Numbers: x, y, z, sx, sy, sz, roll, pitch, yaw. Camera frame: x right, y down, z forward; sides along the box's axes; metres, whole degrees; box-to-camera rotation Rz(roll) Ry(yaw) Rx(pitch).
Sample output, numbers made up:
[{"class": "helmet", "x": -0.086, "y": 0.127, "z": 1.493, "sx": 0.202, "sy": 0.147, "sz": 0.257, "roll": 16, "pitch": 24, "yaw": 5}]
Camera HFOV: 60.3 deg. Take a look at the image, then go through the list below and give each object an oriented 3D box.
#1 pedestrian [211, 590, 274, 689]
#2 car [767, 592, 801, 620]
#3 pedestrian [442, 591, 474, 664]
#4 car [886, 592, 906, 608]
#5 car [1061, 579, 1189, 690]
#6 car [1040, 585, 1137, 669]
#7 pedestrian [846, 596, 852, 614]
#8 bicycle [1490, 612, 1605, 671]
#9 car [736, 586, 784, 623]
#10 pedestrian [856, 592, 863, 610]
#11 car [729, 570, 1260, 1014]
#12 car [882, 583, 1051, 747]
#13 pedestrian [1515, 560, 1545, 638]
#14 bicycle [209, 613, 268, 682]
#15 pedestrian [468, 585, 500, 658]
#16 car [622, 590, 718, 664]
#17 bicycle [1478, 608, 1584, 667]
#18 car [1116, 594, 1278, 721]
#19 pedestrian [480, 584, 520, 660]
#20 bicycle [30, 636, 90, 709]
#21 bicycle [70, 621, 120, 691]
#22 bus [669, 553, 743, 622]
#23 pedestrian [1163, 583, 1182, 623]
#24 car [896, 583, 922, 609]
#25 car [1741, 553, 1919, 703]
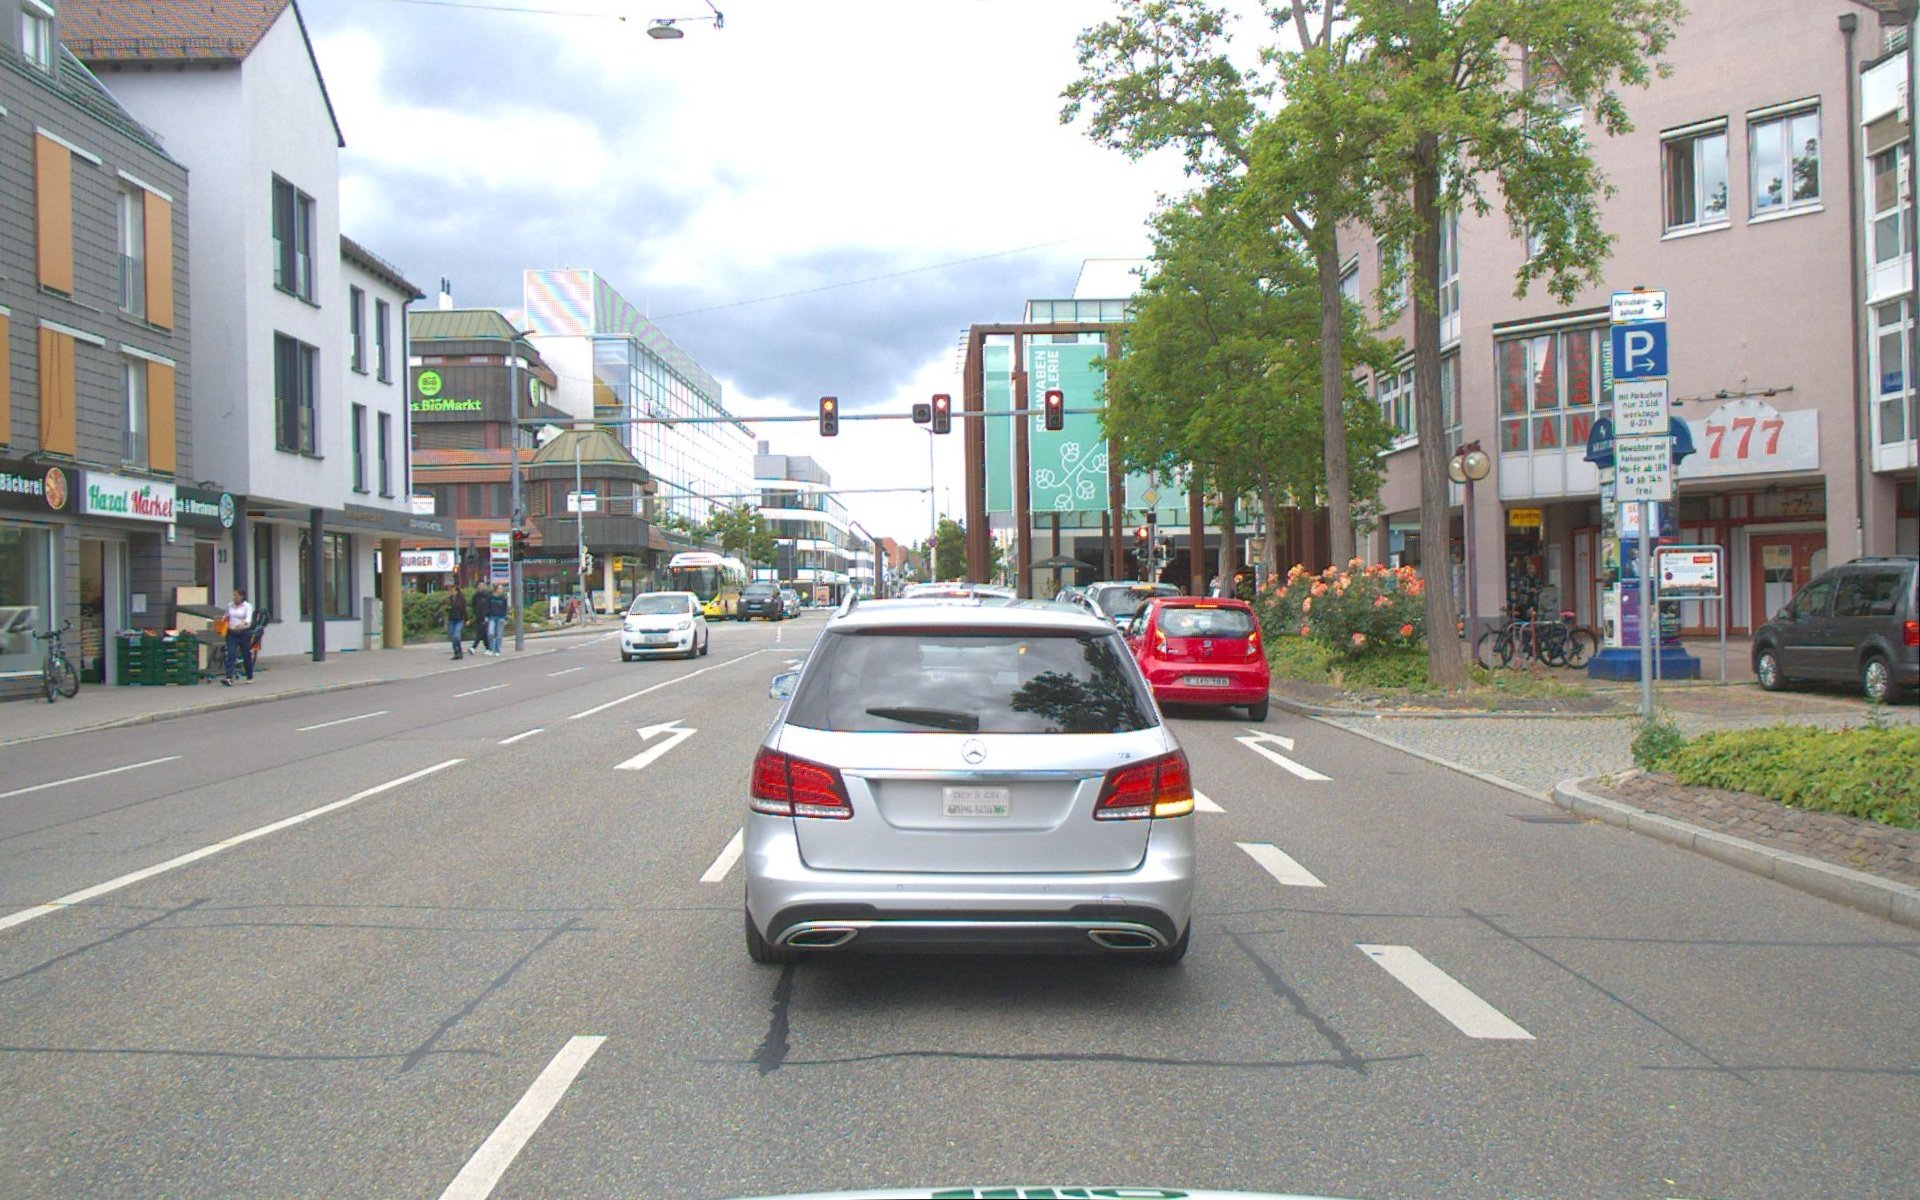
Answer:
[{"class": "pedestrian", "x": -12.119, "y": 0.657, "z": 27.959, "sx": 0.713, "sy": 1.638, "sz": 0.753, "roll": -1, "pitch": 0, "yaw": -1}, {"class": "car", "x": -9.472, "y": 0.313, "z": 89.098, "sx": 1.524, "sy": 1.417, "sz": 3.287, "roll": -1, "pitch": 0, "yaw": -2}, {"class": "pedestrian", "x": -11.732, "y": 0.625, "z": 38.628, "sx": 0.640, "sy": 1.679, "sz": 0.557, "roll": -1, "pitch": 0, "yaw": -12}, {"class": "car", "x": -6.409, "y": -0.034, "z": 166.655, "sx": 1.763, "sy": 1.567, "sz": 4.065, "roll": -1, "pitch": 0, "yaw": 1}, {"class": "car", "x": 2.650, "y": 0.519, "z": 27.253, "sx": 1.555, "sy": 1.662, "sz": 3.915, "roll": 1, "pitch": 0, "yaw": -2}, {"class": "car", "x": 2.615, "y": 0.520, "z": 34.315, "sx": 1.555, "sy": 1.623, "sz": 3.866, "roll": 1, "pitch": 0, "yaw": -2}, {"class": "pedestrian", "x": -10.981, "y": 0.466, "z": 163.579, "sx": 0.508, "sy": 1.764, "sz": 0.489, "roll": -1, "pitch": 0, "yaw": 10}, {"class": "bicycle", "x": 10.369, "y": 0.727, "z": 29.219, "sx": 1.861, "sy": 1.014, "sz": 0.468, "roll": -1, "pitch": 0, "yaw": 3}, {"class": "car", "x": -9.843, "y": 0.201, "z": 81.598, "sx": 1.953, "sy": 1.735, "sz": 4.063, "roll": -1, "pitch": 0, "yaw": -2}, {"class": "pedestrian", "x": -9.952, "y": 0.134, "z": 164.237, "sx": 0.508, "sy": 1.764, "sz": 0.489, "roll": -1, "pitch": 0, "yaw": 20}, {"class": "car", "x": 0.107, "y": 0.650, "z": 7.796, "sx": 1.778, "sy": 1.474, "sz": 4.369, "roll": 1, "pitch": 0, "yaw": 0}, {"class": "car", "x": 0.045, "y": 0.613, "z": 17.500, "sx": 1.606, "sy": 1.554, "sz": 3.393, "roll": 0, "pitch": 0, "yaw": -1}, {"class": "pedestrian", "x": 13.754, "y": -0.025, "z": 39.912, "sx": 0.637, "sy": 1.866, "sz": 0.610, "roll": -1, "pitch": 0, "yaw": 22}, {"class": "bicycle", "x": -13.384, "y": 0.858, "z": 30.723, "sx": 0.378, "sy": 1.207, "sz": 1.825, "roll": -1, "pitch": 0, "yaw": -4}, {"class": "pedestrian", "x": -11.831, "y": 0.523, "z": 41.102, "sx": 0.557, "sy": 1.806, "sz": 0.647, "roll": -1, "pitch": 0, "yaw": 3}, {"class": "car", "x": -6.421, "y": 0.560, "z": 36.893, "sx": 1.542, "sy": 1.514, "sz": 3.463, "roll": -2, "pitch": 0, "yaw": -1}, {"class": "bicycle", "x": 10.265, "y": 0.675, "z": 29.772, "sx": 1.731, "sy": 1.014, "sz": 0.447, "roll": -1, "pitch": 0, "yaw": 3}, {"class": "car", "x": 2.954, "y": 0.675, "z": 21.177, "sx": 1.554, "sy": 1.468, "sz": 3.348, "roll": 1, "pitch": 0, "yaw": -1}, {"class": "pedestrian", "x": -11.209, "y": 0.535, "z": 40.327, "sx": 0.668, "sy": 1.821, "sz": 0.648, "roll": -1, "pitch": 0, "yaw": 25}, {"class": "bicycle", "x": -12.981, "y": 1.027, "z": 23.873, "sx": 0.320, "sy": 0.970, "sz": 1.479, "roll": -1, "pitch": 0, "yaw": -11}, {"class": "bicycle", "x": -14.739, "y": 0.941, "z": 28.198, "sx": 0.379, "sy": 1.147, "sz": 1.287, "roll": -1, "pitch": 0, "yaw": -10}, {"class": "bus", "x": -12.849, "y": -0.630, "z": 84.348, "sx": 2.632, "sy": 3.318, "sz": 8.650, "roll": -1, "pitch": 0, "yaw": -2}, {"class": "pedestrian", "x": 8.978, "y": 0.117, "z": 69.861, "sx": 0.641, "sy": 1.679, "sz": 0.557, "roll": -1, "pitch": 0, "yaw": -15}, {"class": "car", "x": -4.006, "y": -0.346, "z": 130.665, "sx": 1.953, "sy": 1.983, "sz": 4.949, "roll": -1, "pitch": 0, "yaw": -2}, {"class": "car", "x": 12.491, "y": 0.307, "z": 22.455, "sx": 1.605, "sy": 1.863, "sz": 3.963, "roll": -2, "pitch": 1, "yaw": -5}]
